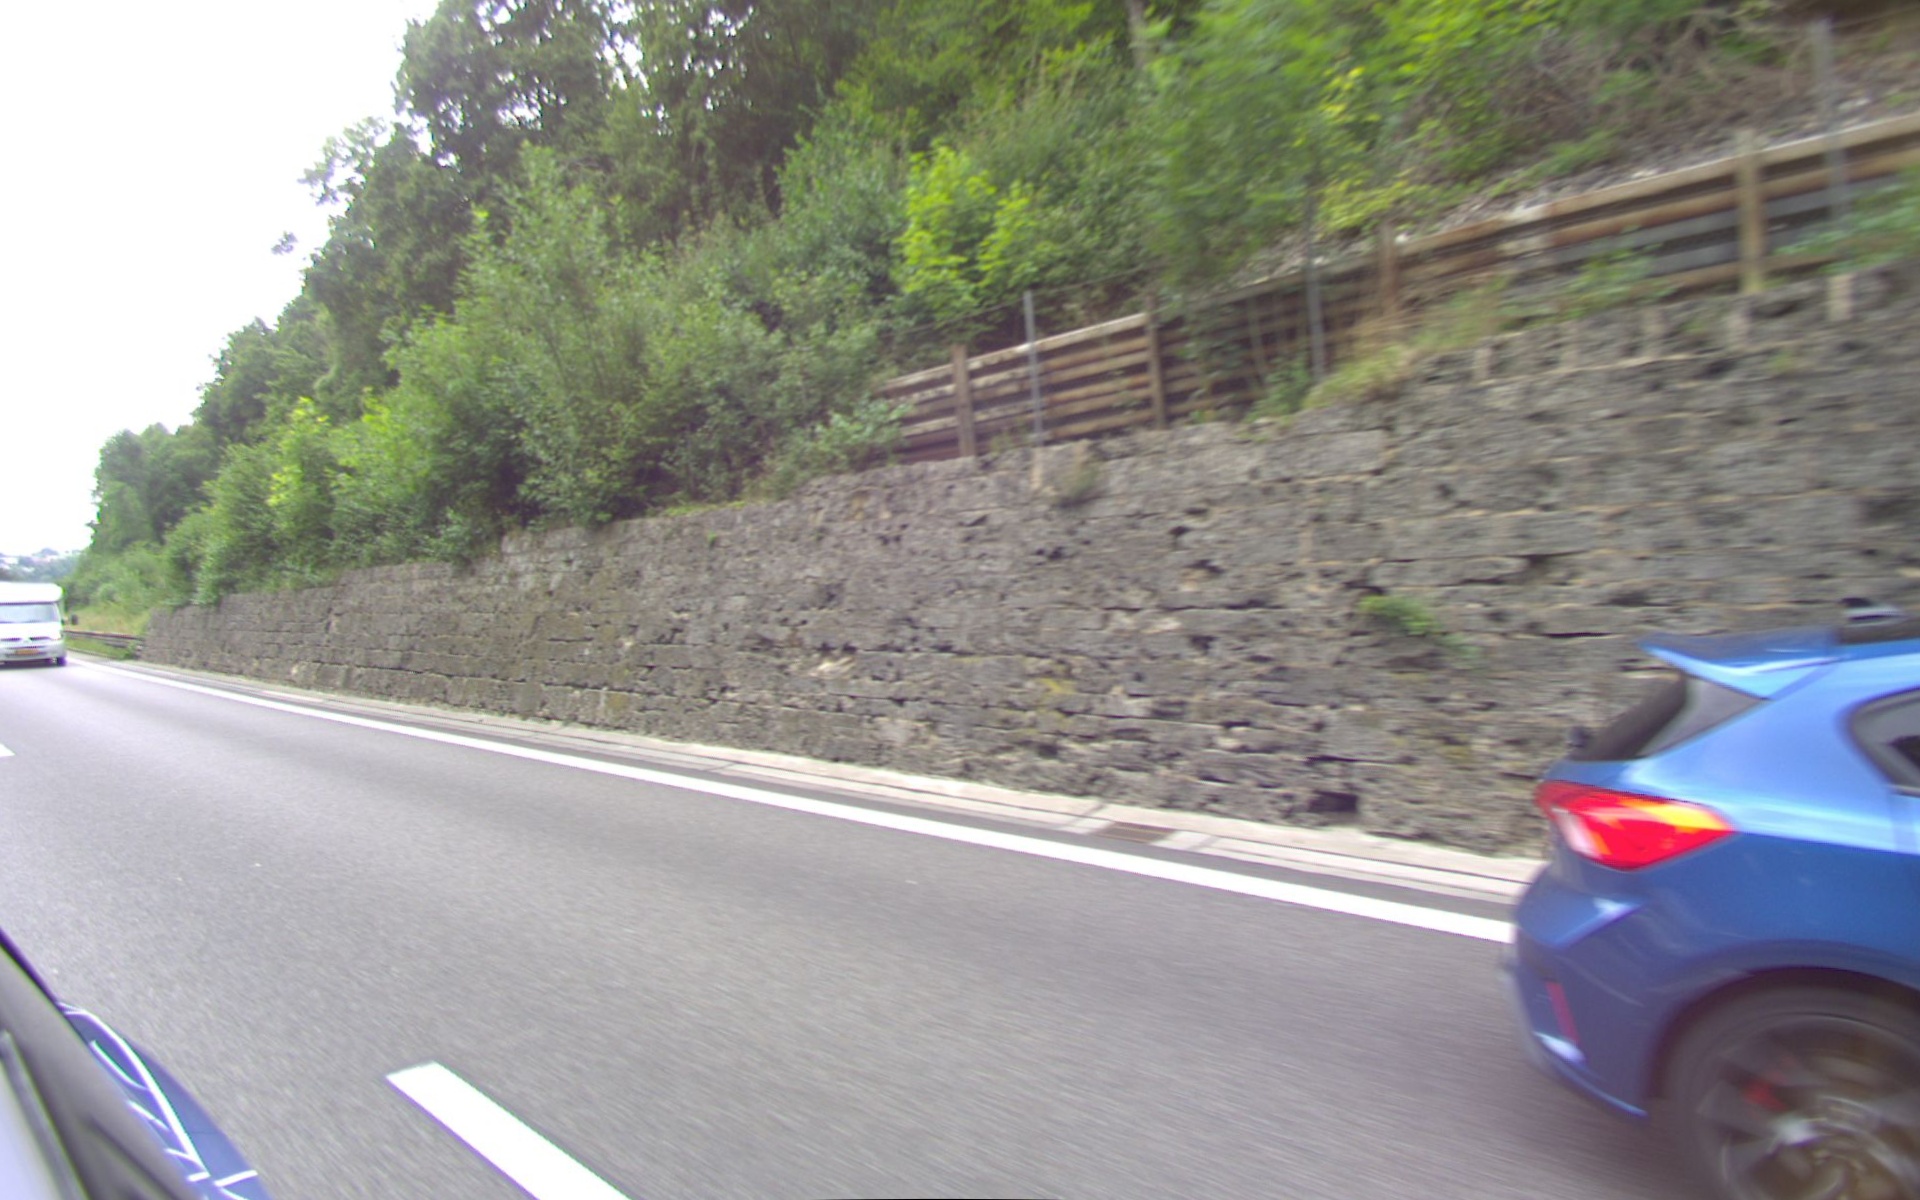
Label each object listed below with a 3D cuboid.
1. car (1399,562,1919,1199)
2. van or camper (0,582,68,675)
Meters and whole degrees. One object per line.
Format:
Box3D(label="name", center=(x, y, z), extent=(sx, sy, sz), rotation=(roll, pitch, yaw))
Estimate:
Box3D(label="car", center=(3.432, 0.639, 1.774), extent=(4.553, 1.480, 1.817), rotation=(-1, 0, 41))
Box3D(label="van or camper", center=(-30.908, 0.915, 32.889), extent=(7.024, 2.756, 2.240), rotation=(-2, -1, 43))
